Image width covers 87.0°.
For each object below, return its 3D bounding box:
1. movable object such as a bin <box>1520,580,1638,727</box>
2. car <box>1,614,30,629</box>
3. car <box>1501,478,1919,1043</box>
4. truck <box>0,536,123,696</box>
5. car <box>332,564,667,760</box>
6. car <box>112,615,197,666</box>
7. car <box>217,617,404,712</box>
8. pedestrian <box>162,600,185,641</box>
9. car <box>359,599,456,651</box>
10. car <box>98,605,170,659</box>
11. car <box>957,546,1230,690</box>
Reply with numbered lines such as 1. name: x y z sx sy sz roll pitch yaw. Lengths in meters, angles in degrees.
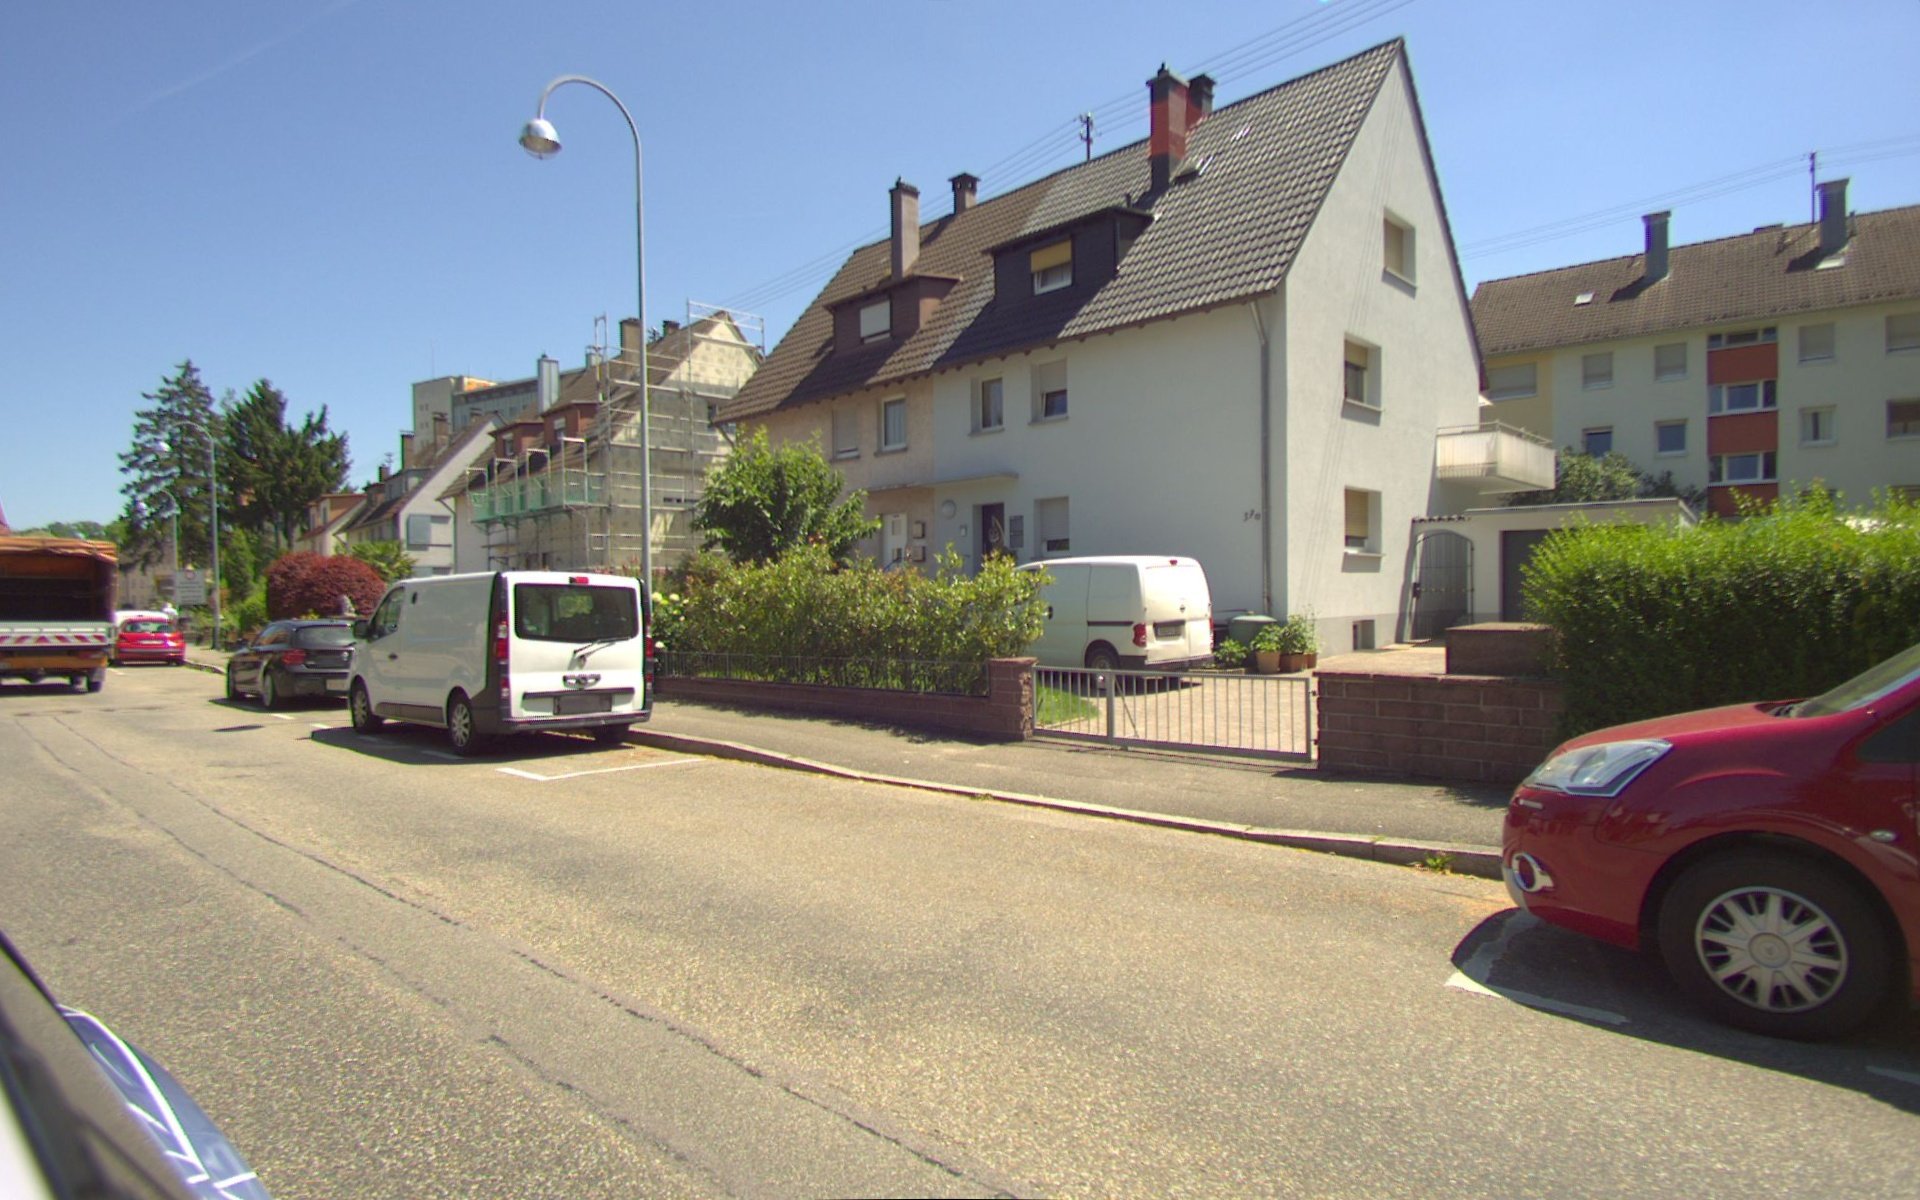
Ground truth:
1. movable object such as a bin: 6.000 0.495 9.812 0.857 1.331 0.596 -1 2 42
2. car: -98.762 2.259 105.846 1.735 1.525 3.749 3 -2 -37
3. car: 4.333 0.494 3.098 4.455 1.740 1.739 -1 -2 41
4. truck: -18.825 0.331 20.372 5.659 2.851 2.347 -1 -1 43
5. car: -5.698 0.644 12.166 4.979 1.895 1.866 -1 -1 42
6. car: -25.159 1.232 31.555 1.739 1.489 4.062 2 -2 -43
7. car: -11.029 1.009 17.066 4.236 1.395 1.680 -1 -3 44
8. pedestrian: -38.423 1.001 49.466 0.680 1.903 1.021 -7 4 -36
9. car: -18.446 0.819 33.717 4.002 1.525 1.667 -1 4 45
10. car: -28.834 1.101 35.286 1.702 1.749 3.891 2 -2 -42
11. car: 1.895 0.210 15.406 1.693 1.884 4.007 -3 2 -39
